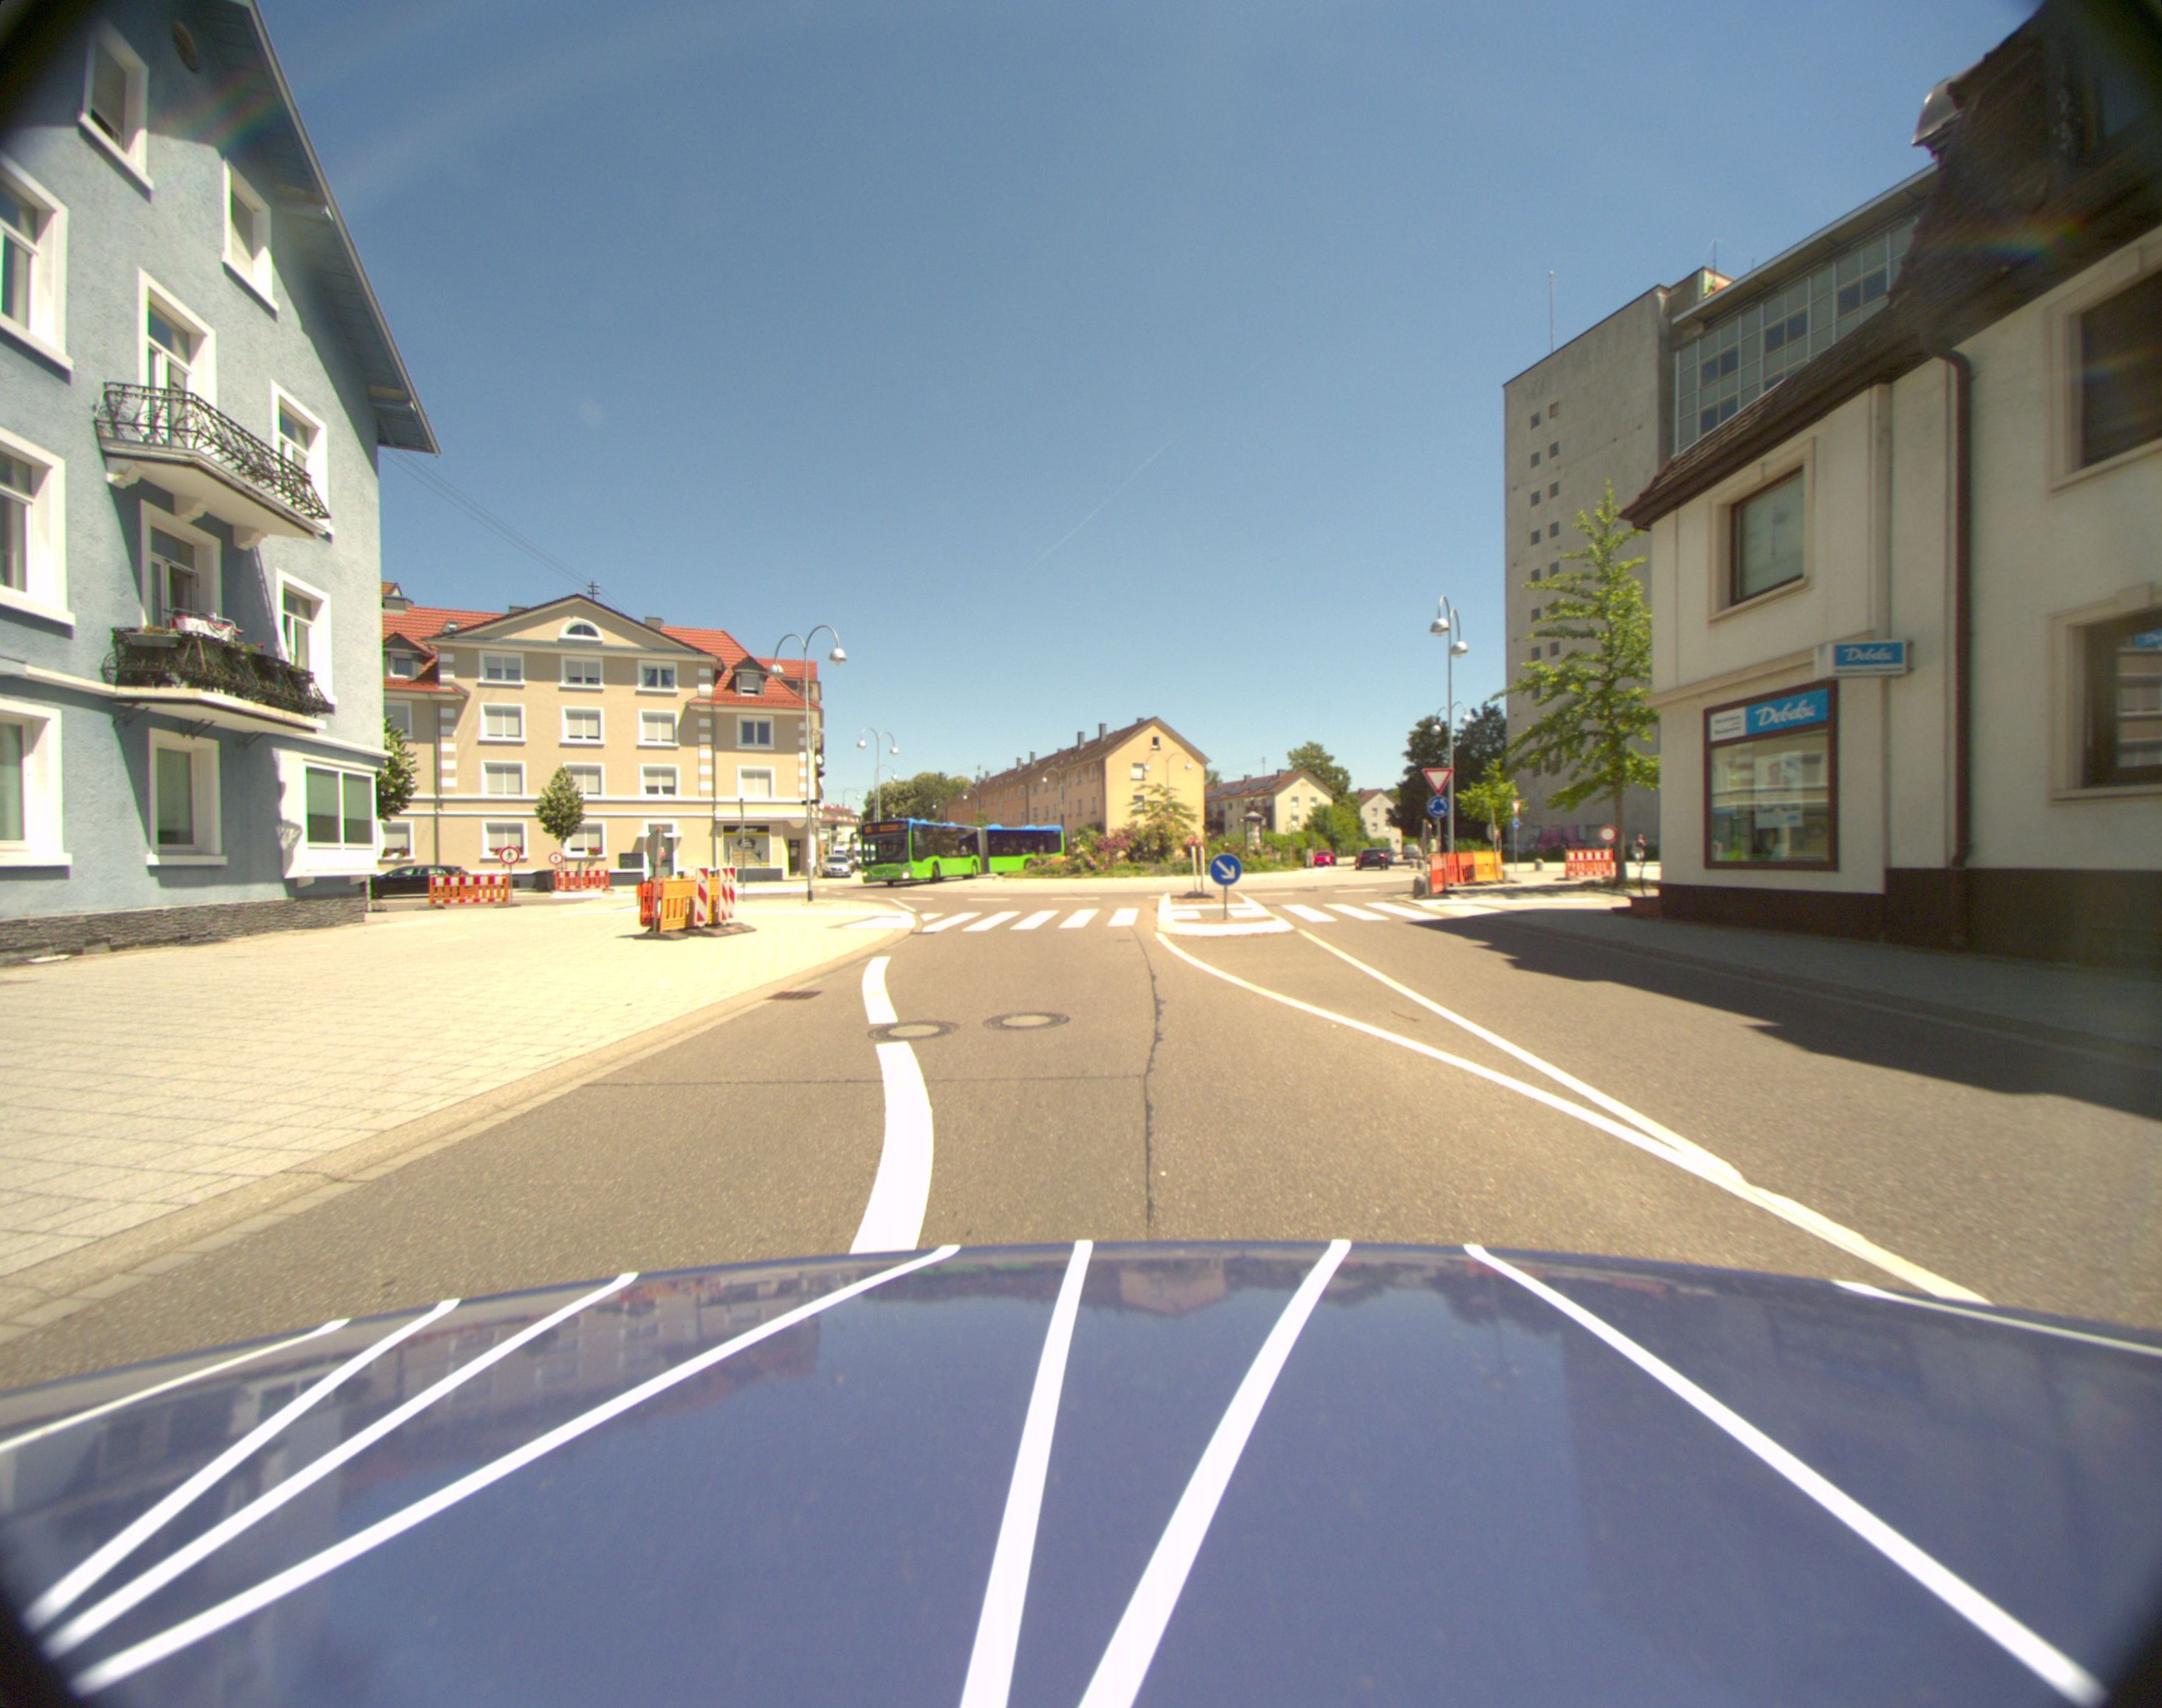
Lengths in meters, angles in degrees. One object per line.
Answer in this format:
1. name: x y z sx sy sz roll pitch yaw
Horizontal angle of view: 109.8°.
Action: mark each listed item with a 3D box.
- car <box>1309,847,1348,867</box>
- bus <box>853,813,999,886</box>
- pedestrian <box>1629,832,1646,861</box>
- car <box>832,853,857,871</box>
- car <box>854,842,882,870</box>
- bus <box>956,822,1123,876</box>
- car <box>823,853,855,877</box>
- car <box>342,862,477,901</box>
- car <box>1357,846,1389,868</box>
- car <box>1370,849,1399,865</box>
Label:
1. car: 21.511 0.286 66.044 1.731 1.592 3.944 -1 1 42
2. bus: -7.429 -0.193 39.246 2.908 3.062 12.572 -2 0 10
3. pedestrian: 28.088 -0.384 38.368 0.430 1.421 0.563 -2 1 -27
4. car: -18.966 0.625 61.047 1.828 1.402 3.994 1 0 -16
5. car: -20.080 0.174 71.531 2.344 2.442 5.726 1 0 -16
6. bus: -2.251 -0.400 49.103 2.923 3.043 12.587 -2 0 40
7. car: -15.616 0.662 49.158 1.828 1.403 3.993 1 1 -16
8. car: -29.315 1.178 33.354 4.005 1.438 1.894 -2 2 -26
9. car: 18.755 0.173 48.893 1.728 1.288 4.005 -2 0 19
10. car: 26.505 0.231 66.211 1.780 1.347 4.061 -1 0 30
